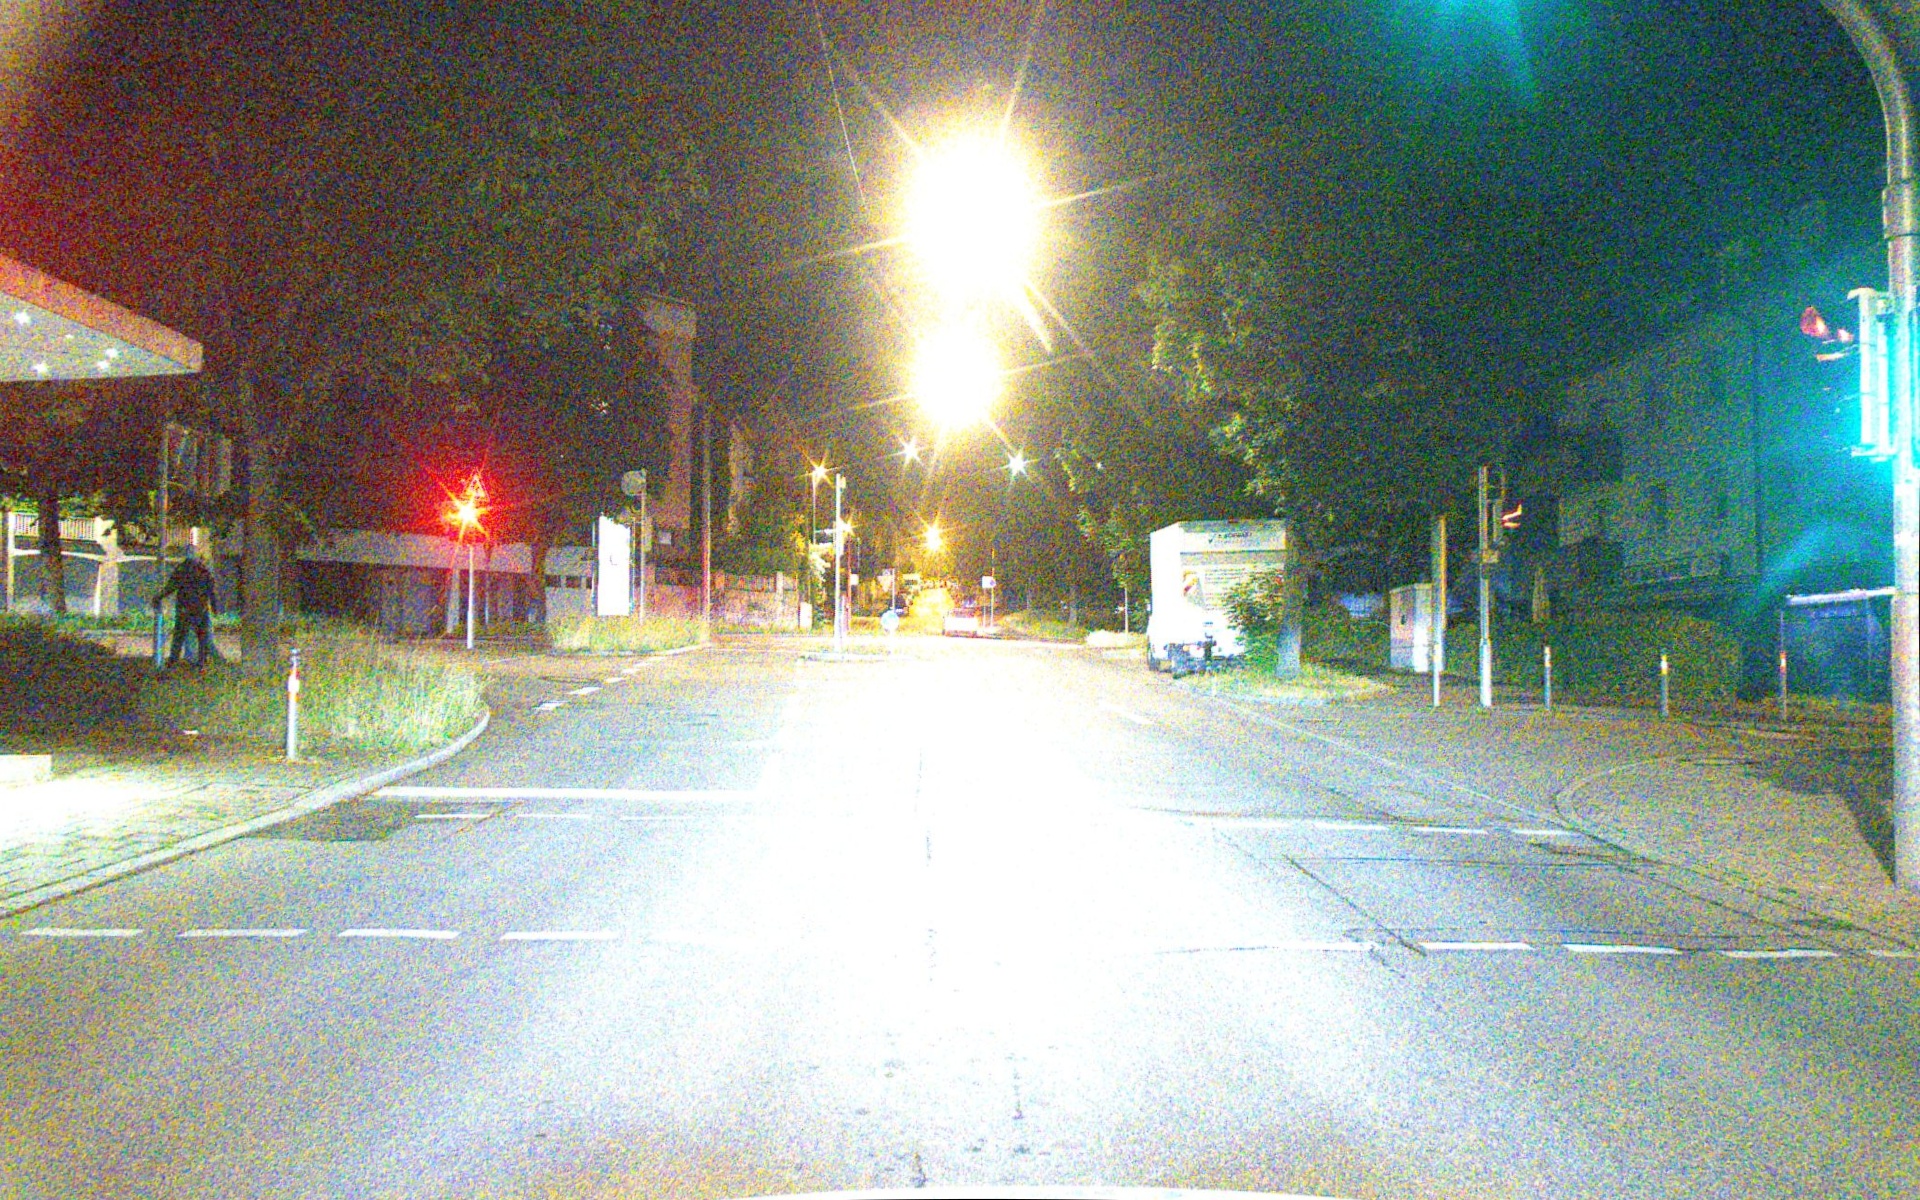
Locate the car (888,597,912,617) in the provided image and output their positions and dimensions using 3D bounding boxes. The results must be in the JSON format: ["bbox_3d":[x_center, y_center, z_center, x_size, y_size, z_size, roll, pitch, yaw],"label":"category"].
[{"bbox_3d":[-4.843,0.542,134.289,1.869,1.585,3.903,1,0,-1],"label":"car"}]

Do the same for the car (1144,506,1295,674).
[{"bbox_3d":[5.249,-0.178,34.304,2.249,3.147,5.840,-1,0,1],"label":"car"}]

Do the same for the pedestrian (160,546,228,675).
[{"bbox_3d":[-11.073,0.152,23.931,0.558,1.808,0.737,3,-1,-1],"label":"pedestrian"}]

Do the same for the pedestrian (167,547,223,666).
[{"bbox_3d":[-11.559,0.101,24.994,0.558,1.761,0.543,1,-1,-1],"label":"pedestrian"}]

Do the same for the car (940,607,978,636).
[{"bbox_3d":[-0.063,1.124,88.100,1.741,1.512,3.996,1,0,-4],"label":"car"}]
